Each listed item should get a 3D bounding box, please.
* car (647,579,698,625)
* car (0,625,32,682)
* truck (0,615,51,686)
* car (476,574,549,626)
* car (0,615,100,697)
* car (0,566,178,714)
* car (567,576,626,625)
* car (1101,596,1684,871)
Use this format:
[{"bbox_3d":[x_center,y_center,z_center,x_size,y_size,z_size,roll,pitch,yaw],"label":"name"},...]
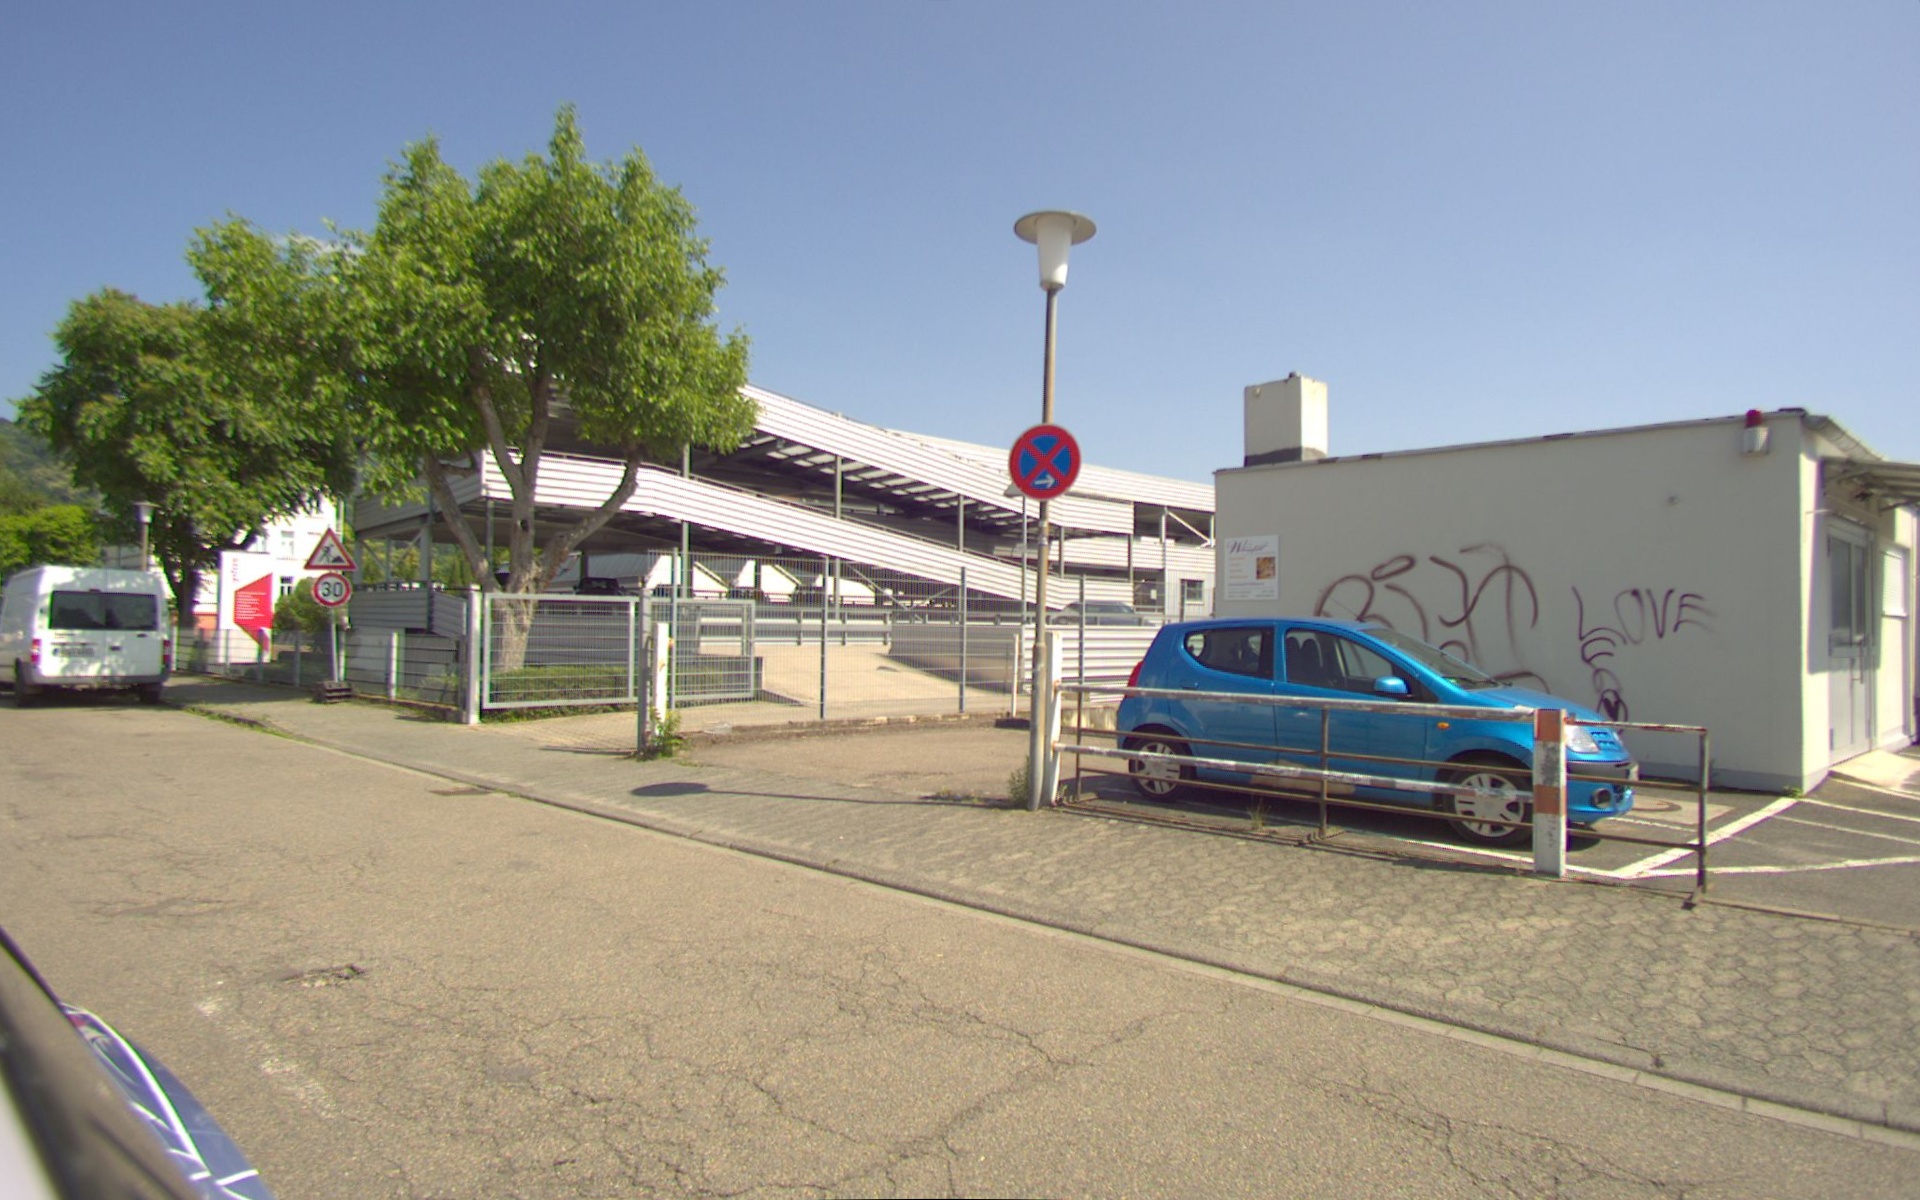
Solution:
[{"bbox_3d":[-11.326,0.043,39.861,1.787,1.684,4.012,2,0,-16],"label":"car"},{"bbox_3d":[-26.786,1.406,27.486,4.110,1.474,1.687,0,-3,39],"label":"car"},{"bbox_3d":[-23.190,1.195,24.545,3.137,1.634,1.127,-1,-4,39],"label":"truck"},{"bbox_3d":[-15.690,-0.022,35.670,1.787,1.684,4.012,2,0,-16],"label":"car"},{"bbox_3d":[-20.577,1.185,22.167,3.966,1.636,1.689,0,-4,36],"label":"car"},{"bbox_3d":[-16.495,0.729,18.693,5.223,2.384,1.985,-1,-4,39],"label":"car"},{"bbox_3d":[-13.468,0.008,37.692,1.787,1.684,4.012,2,0,-16],"label":"car"},{"bbox_3d":[3.111,0.815,7.586,3.671,1.542,1.796,-1,-3,39],"label":"car"}]
